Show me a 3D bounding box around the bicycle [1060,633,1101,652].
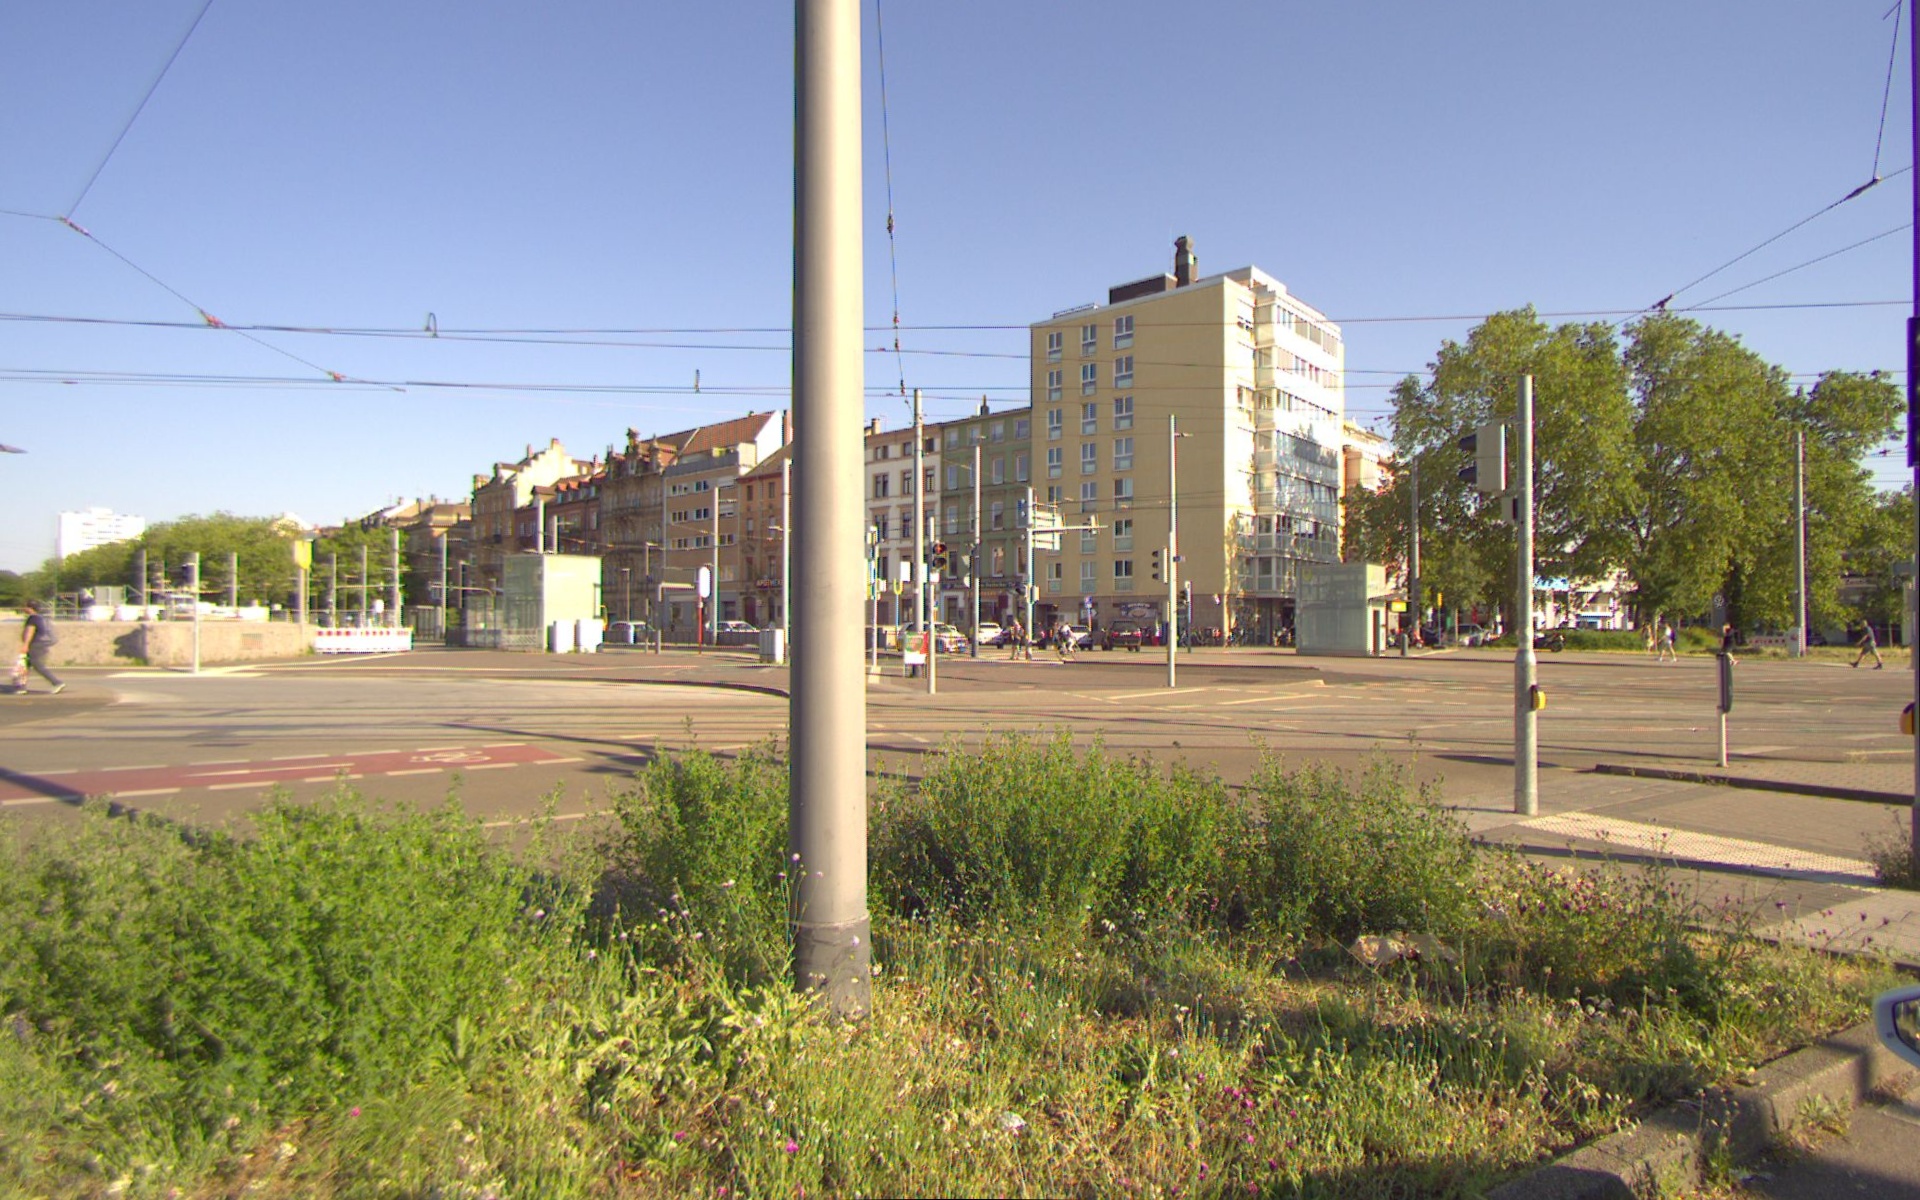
[{"bbox_3d":[8.245,2.881,68.918,3.003,1.167,0.637,1,0,44],"label":"bicycle"}]

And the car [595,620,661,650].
[{"bbox_3d":[-22.428,2.329,67.833,4.837,1.849,1.990,2,0,41],"label":"car"}]

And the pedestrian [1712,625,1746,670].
[{"bbox_3d":[30.337,1.851,39.631,0.747,1.728,0.793,2,0,-22],"label":"pedestrian"}]

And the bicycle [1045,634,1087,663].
[{"bbox_3d":[4.316,1.961,40.686,0.617,1.104,1.914,2,0,44],"label":"bicycle"}]

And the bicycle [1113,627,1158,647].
[{"bbox_3d":[11.537,2.426,66.110,3.003,1.167,0.637,1,0,44],"label":"bicycle"}]

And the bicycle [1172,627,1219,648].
[{"bbox_3d":[14.916,2.370,63.684,3.003,1.167,0.637,1,0,44],"label":"bicycle"}]

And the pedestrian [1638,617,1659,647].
[{"bbox_3d":[40.028,1.865,58.424,0.491,1.716,0.852,2,0,-32],"label":"pedestrian"}]

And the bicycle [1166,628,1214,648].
[{"bbox_3d":[14.456,2.373,63.207,3.003,1.167,0.637,1,0,44],"label":"bicycle"}]

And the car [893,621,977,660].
[{"bbox_3d":[-1.270,1.960,49.083,3.942,1.684,1.777,2,0,42],"label":"car"}]

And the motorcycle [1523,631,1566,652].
[{"bbox_3d":[29.154,2.060,50.109,1.753,0.926,0.676,2,0,41],"label":"motorcycle"}]

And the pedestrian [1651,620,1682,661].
[{"bbox_3d":[30.917,1.772,43.948,0.747,1.728,0.793,2,0,-22],"label":"pedestrian"}]

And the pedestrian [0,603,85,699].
[{"bbox_3d":[-17.304,0.929,18.770,0.985,1.706,1.042,2,0,-6],"label":"pedestrian"}]

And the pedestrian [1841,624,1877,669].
[{"bbox_3d":[36.032,1.860,40.249,0.747,1.728,0.793,2,0,-22],"label":"pedestrian"}]

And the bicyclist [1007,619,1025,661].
[{"bbox_3d":[2.312,1.646,41.568,0.653,1.706,0.980,2,0,2],"label":"bicyclist"}]

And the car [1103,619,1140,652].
[{"bbox_3d":[9.210,1.983,57.538,1.684,1.728,4.001,2,0,4],"label":"car"}]

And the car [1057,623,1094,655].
[{"bbox_3d":[6.777,2.262,59.283,1.960,1.728,4.001,2,0,4],"label":"car"}]

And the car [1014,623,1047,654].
[{"bbox_3d":[4.299,2.319,61.475,1.960,1.728,4.001,2,0,4],"label":"car"}]

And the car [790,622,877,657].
[{"bbox_3d":[-6.835,2.087,54.004,4.643,1.684,1.780,2,0,36],"label":"car"}]

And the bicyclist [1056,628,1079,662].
[{"bbox_3d":[4.341,1.821,40.698,0.617,1.368,0.658,2,0,44],"label":"bicyclist"}]

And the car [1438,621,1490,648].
[{"bbox_3d":[32.019,2.207,63.809,3.973,1.588,1.753,2,0,-44],"label":"car"}]

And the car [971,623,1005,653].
[{"bbox_3d":[1.834,2.391,63.943,1.960,1.728,4.001,2,0,4],"label":"car"}]
